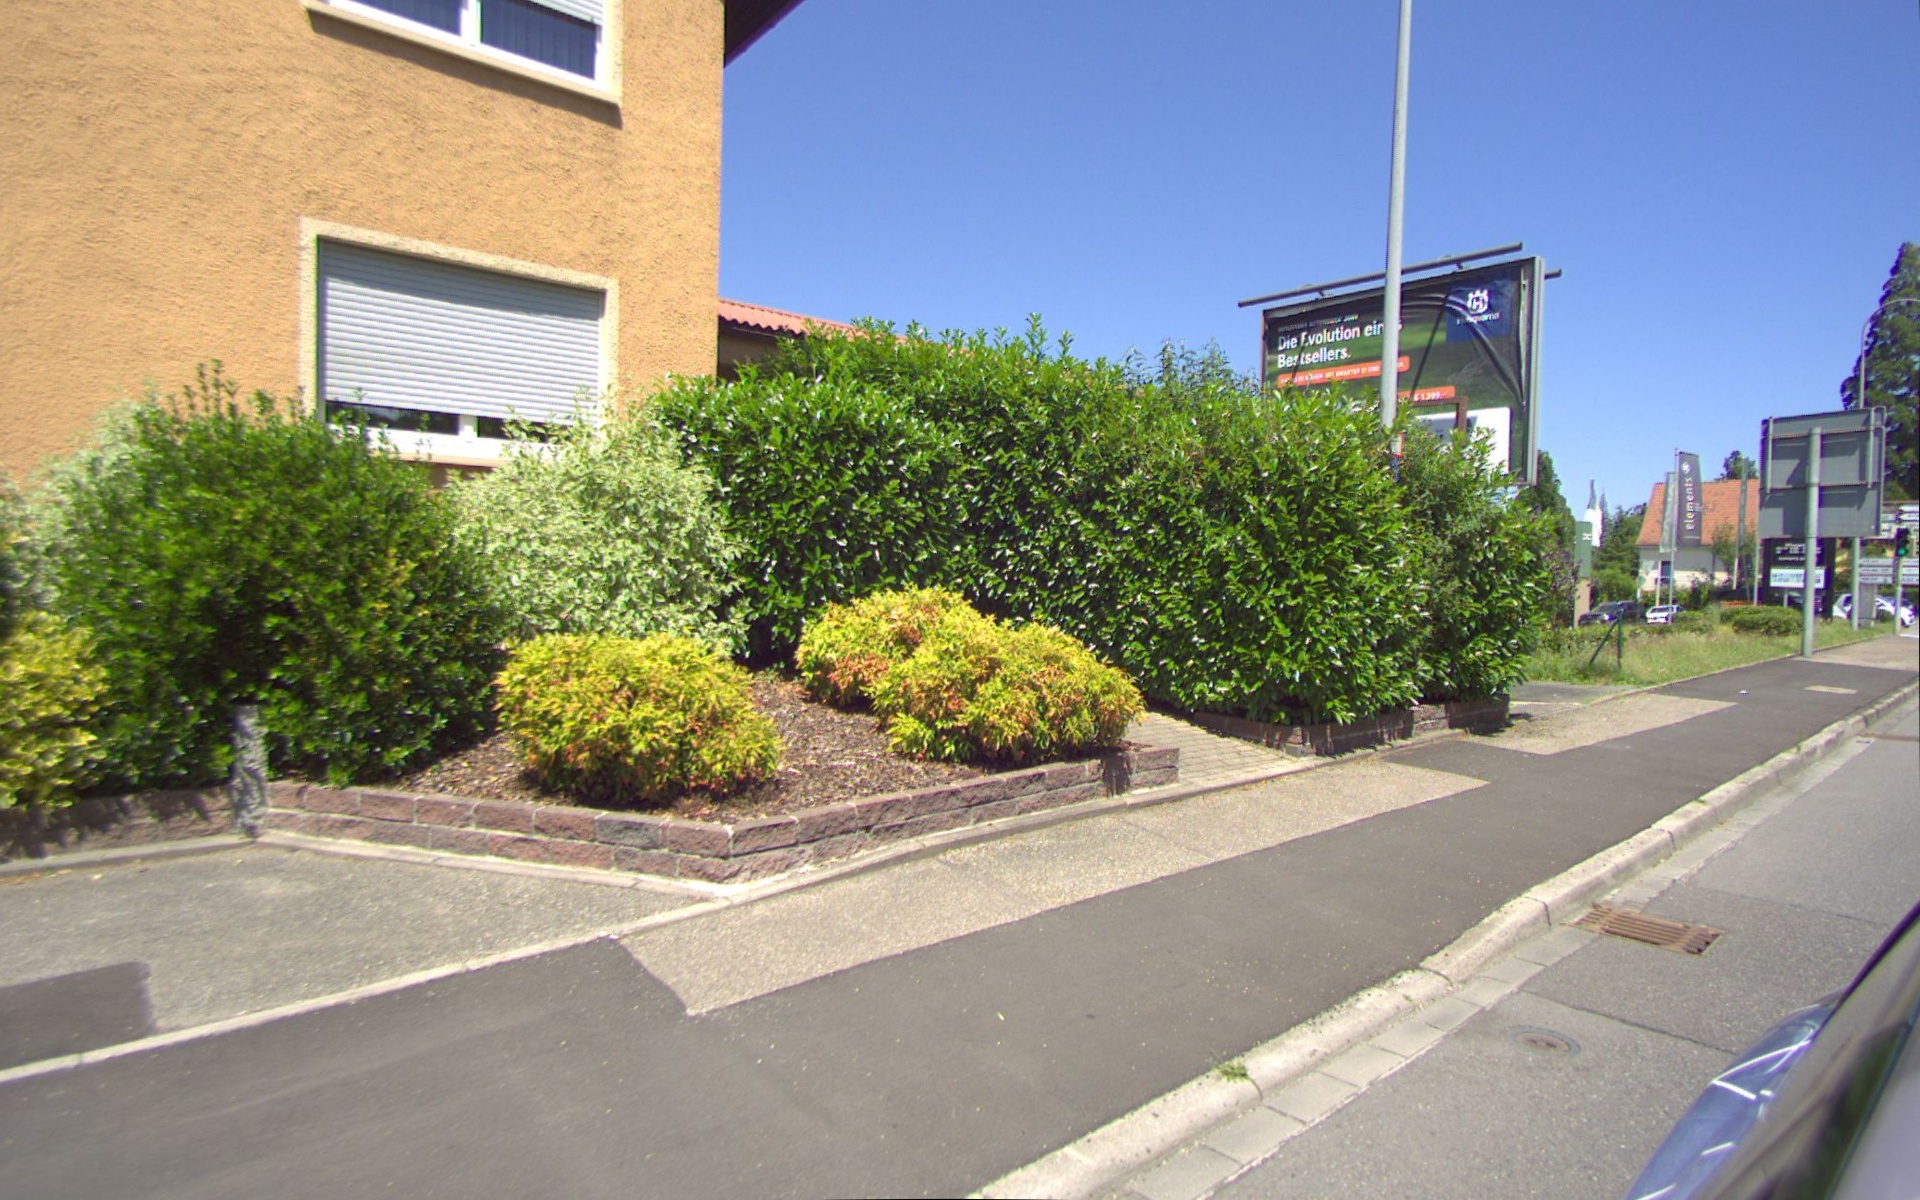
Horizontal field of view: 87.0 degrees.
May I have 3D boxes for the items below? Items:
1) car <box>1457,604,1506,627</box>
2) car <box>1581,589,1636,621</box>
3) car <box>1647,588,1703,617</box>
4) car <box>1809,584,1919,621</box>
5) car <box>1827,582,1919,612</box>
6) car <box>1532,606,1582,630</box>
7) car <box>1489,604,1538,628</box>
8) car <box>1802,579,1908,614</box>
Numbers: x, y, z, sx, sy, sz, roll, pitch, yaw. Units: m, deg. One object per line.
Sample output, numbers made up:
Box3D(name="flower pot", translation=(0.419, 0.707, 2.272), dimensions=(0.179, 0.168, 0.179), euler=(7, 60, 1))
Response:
Box3D(name="car", translation=(36.638, 1.065, 71.067), dimensions=(3.633, 1.452, 1.776), euler=(0, 2, -40))
Box3D(name="car", translation=(36.426, 0.243, 56.856), dimensions=(3.636, 1.665, 1.696), euler=(-1, 1, -42))
Box3D(name="car", translation=(42.952, 0.132, 60.797), dimensions=(3.630, 1.665, 1.699), euler=(-1, 1, -36))
Box3D(name="car", translation=(37.986, 0.070, 42.255), dimensions=(1.598, 1.400, 3.637), euler=(-1, 2, -39))
Box3D(name="car", translation=(45.897, -0.175, 50.584), dimensions=(1.598, 1.400, 3.637), euler=(-1, 2, -39))
Box3D(name="car", translation=(39.667, 1.173, 67.239), dimensions=(3.635, 1.452, 1.775), euler=(-1, 2, -41))
Box3D(name="car", translation=(37.975, 1.072, 69.400), dimensions=(3.635, 1.452, 1.834), euler=(-1, 2, -41))
Box3D(name="car", translation=(43.412, -0.222, 49.127), dimensions=(1.598, 1.570, 3.637), euler=(-1, 2, -39))
